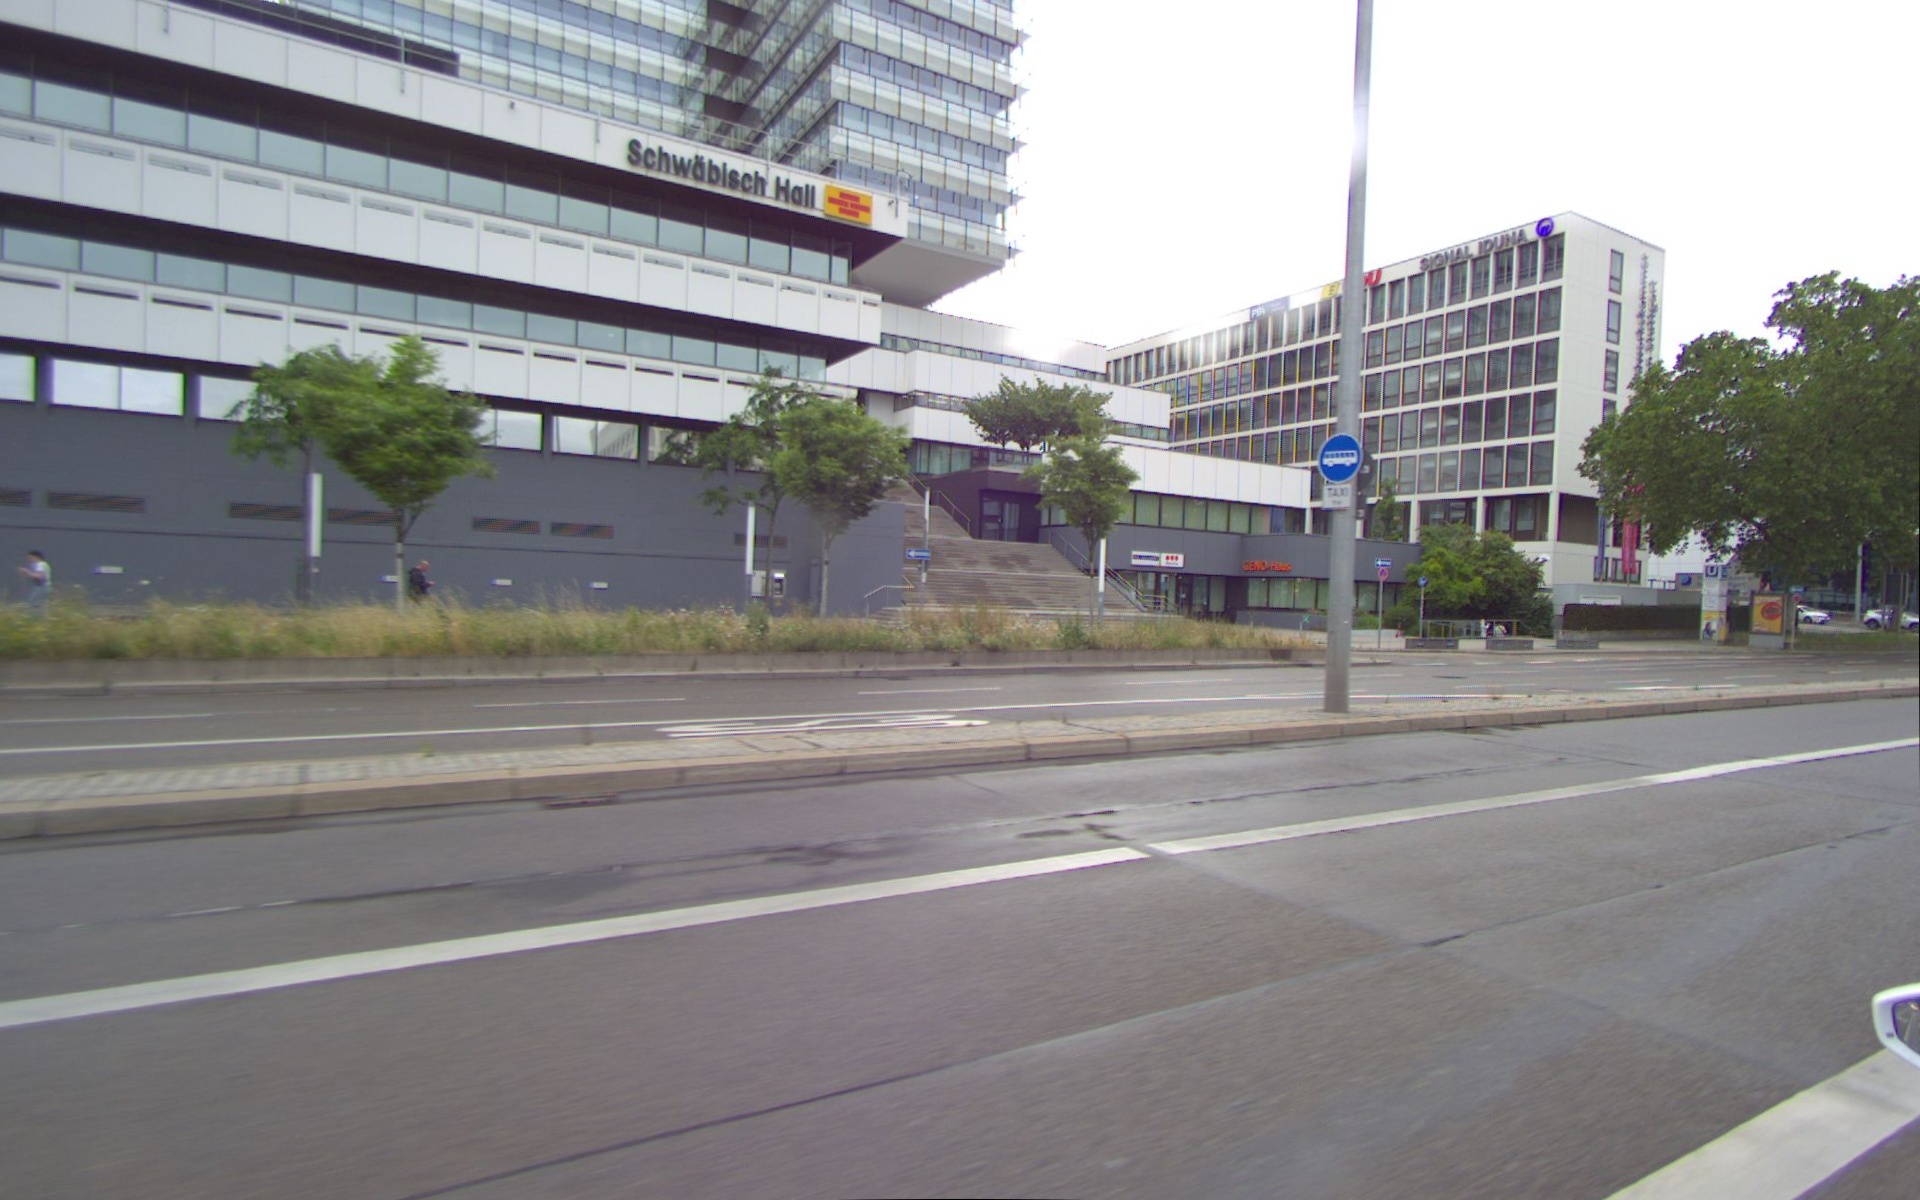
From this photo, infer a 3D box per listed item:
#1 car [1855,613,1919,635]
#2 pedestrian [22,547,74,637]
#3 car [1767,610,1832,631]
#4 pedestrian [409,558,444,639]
[{"bbox_3d":[74.266,1.910,79.728,1.863,1.653,4.504,2,-1,-14],"label":"car"},{"bbox_3d":[-19.017,-0.158,20.962,0.621,1.831,0.626,2,0,-30],"label":"pedestrian"},{"bbox_3d":[72.896,1.779,87.277,1.863,1.653,3.989,2,-1,-14],"label":"car"},{"bbox_3d":[-12.417,-0.025,23.374,0.621,1.831,0.780,2,0,-30],"label":"pedestrian"}]
